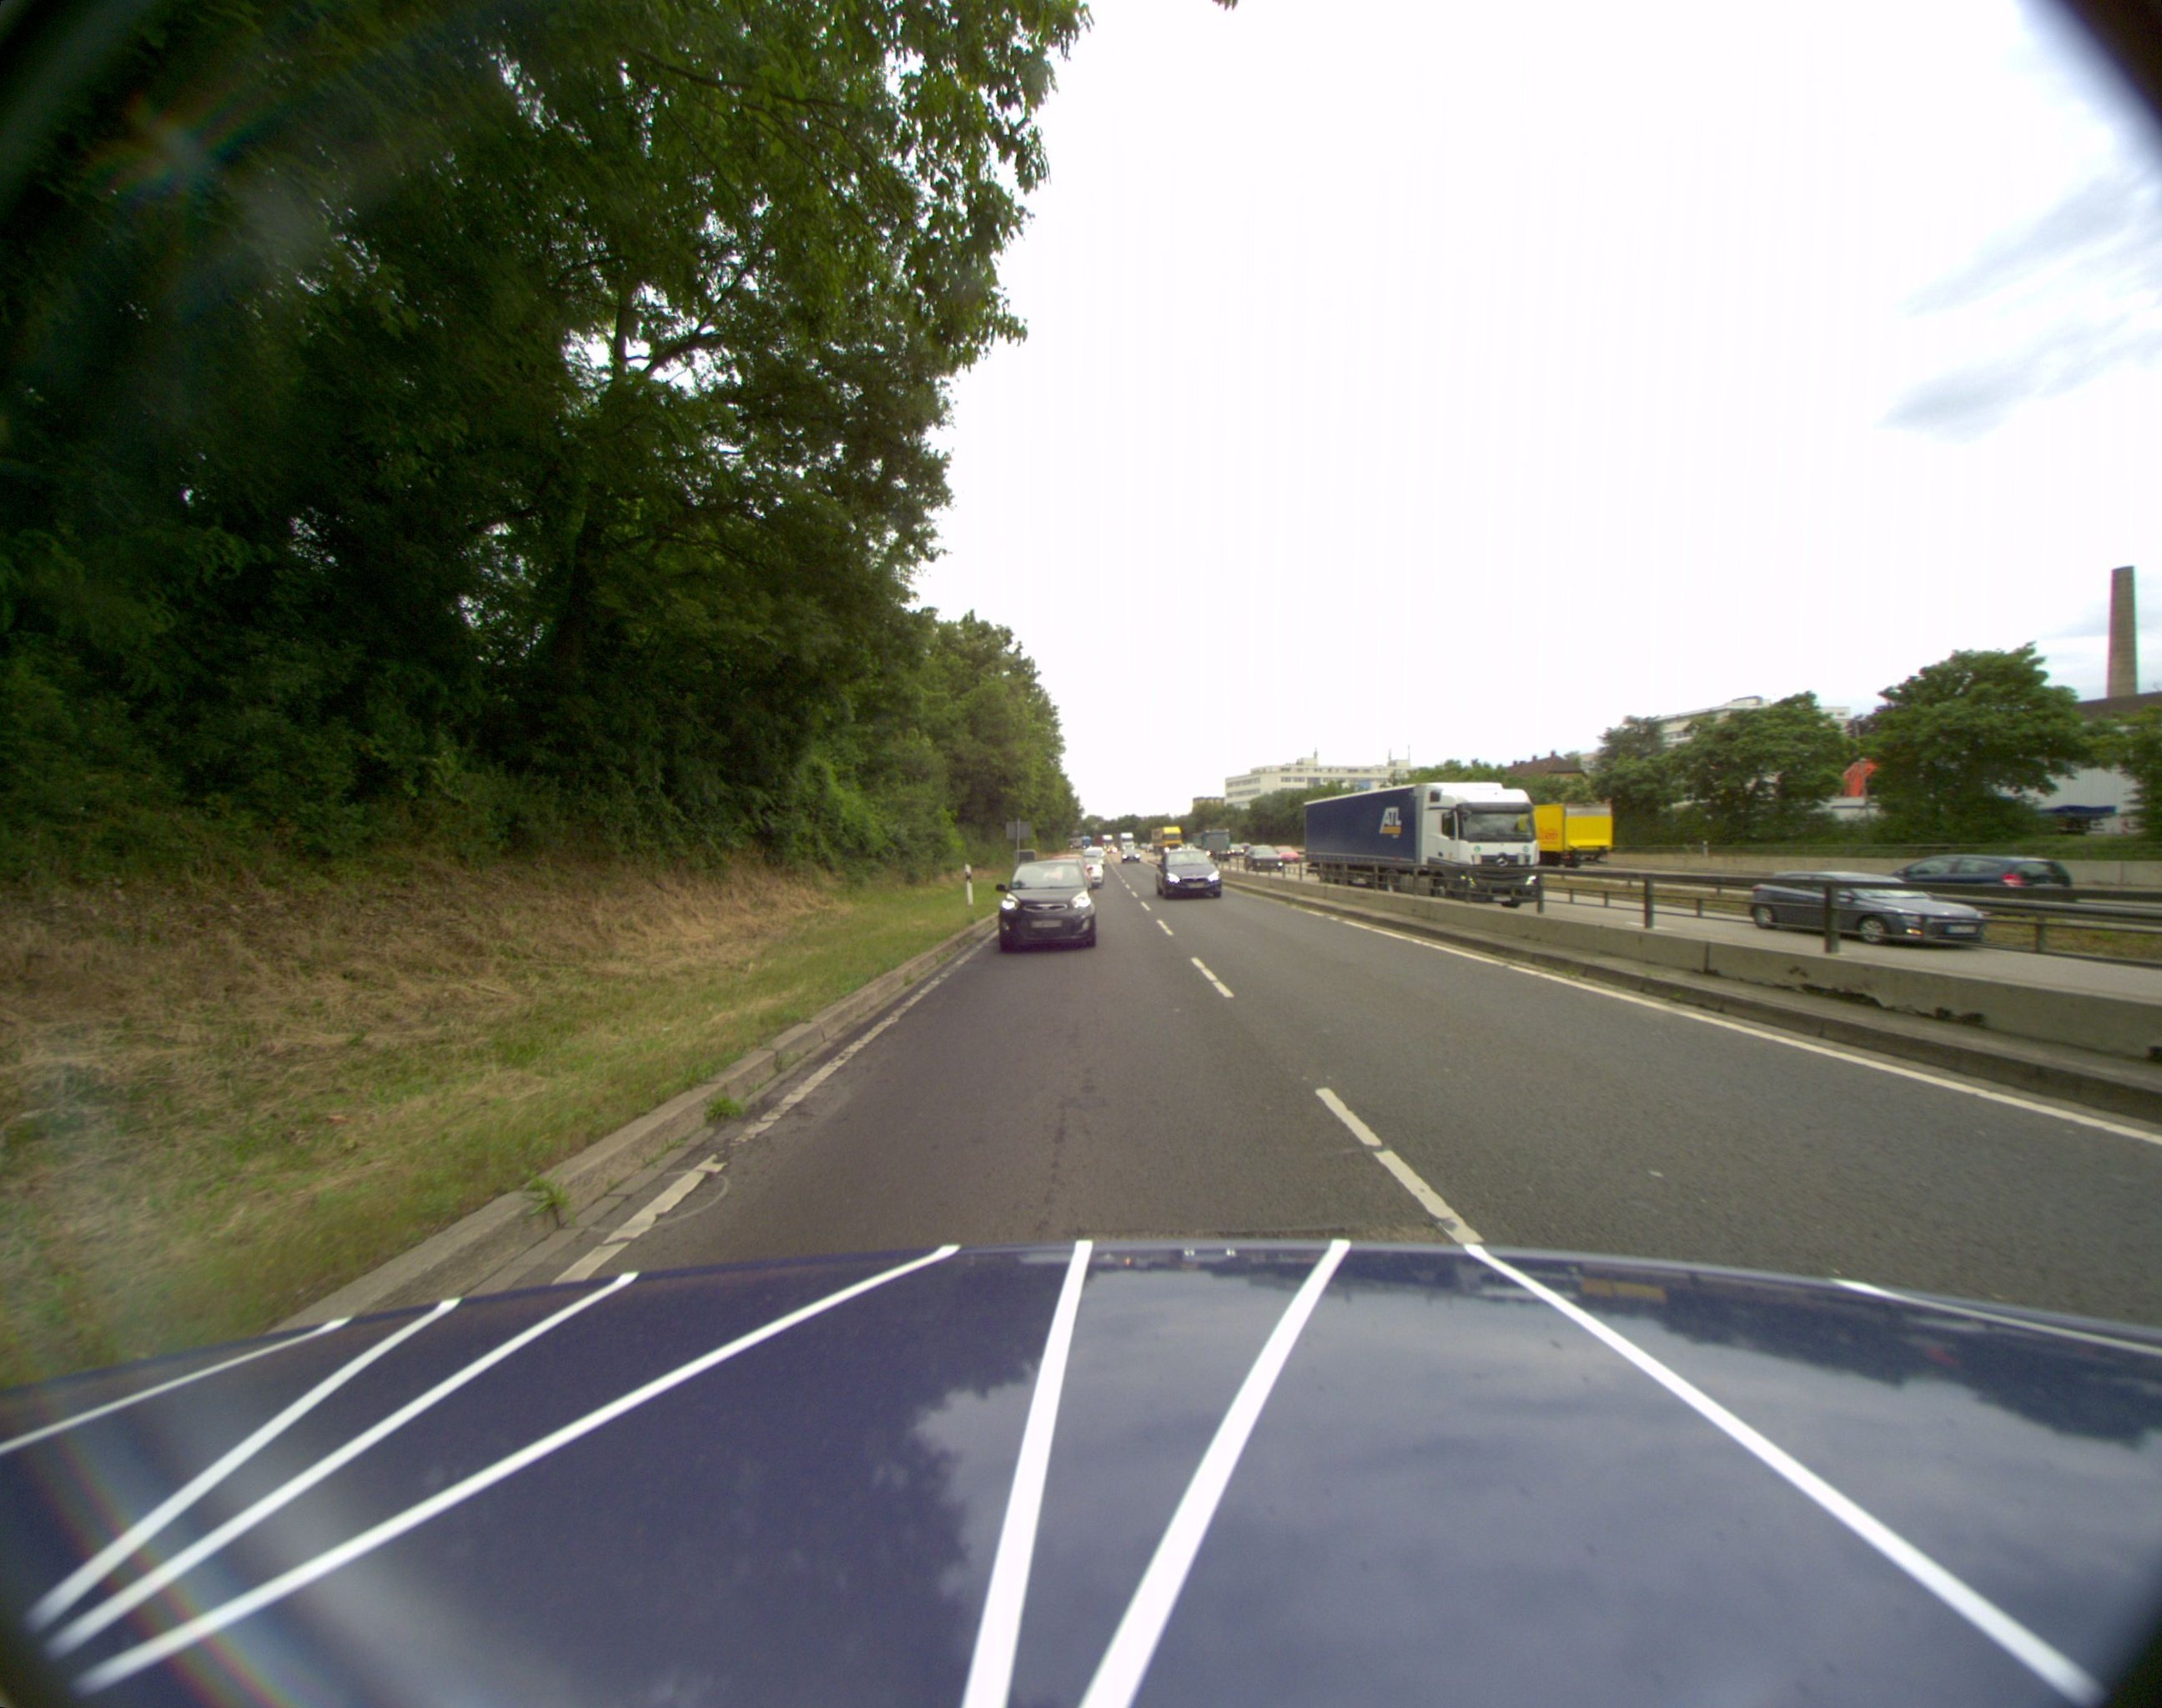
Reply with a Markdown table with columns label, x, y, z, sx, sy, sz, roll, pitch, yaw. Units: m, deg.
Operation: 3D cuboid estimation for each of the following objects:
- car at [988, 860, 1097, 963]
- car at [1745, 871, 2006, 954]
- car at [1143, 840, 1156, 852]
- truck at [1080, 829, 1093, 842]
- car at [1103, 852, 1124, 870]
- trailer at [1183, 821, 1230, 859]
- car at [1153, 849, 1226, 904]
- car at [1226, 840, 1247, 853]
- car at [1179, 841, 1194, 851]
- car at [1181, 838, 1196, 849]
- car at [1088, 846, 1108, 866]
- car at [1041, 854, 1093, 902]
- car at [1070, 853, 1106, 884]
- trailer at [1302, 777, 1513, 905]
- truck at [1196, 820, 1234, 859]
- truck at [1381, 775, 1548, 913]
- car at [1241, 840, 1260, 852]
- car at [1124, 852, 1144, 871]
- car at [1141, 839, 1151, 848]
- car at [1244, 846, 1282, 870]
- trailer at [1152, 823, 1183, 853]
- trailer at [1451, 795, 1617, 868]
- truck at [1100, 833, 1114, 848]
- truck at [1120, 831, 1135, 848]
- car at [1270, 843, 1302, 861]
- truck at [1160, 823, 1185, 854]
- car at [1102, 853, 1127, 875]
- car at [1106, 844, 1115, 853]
| label | x | y | z | sx | sy | sz | roll | pitch | yaw |
| --- | --- | --- | --- | --- | --- | --- | --- | --- | --- |
| car | -0.574 | 0.911 | 13.787 | 1.627 | 1.433 | 3.999 | -2 | 1 | 1 |
| car | 17.197 | 1.183 | 16.766 | 1.628 | 1.433 | 3.896 | 0 | 1 | 0 |
| car | 12.476 | -1.516 | 139.428 | 1.998 | 2.002 | 3.999 | -2 | 1 | 1 |
| truck | 1.695 | -6.200 | 255.060 | 2.533 | 4.013 | 13.766 | -1 | 1 | -8 |
| car | 2.685 | 0.544 | 63.572 | 1.627 | 1.337 | 3.999 | -2 | 1 | 1 |
| trailer | 13.334 | -1.501 | 82.355 | 2.613 | 3.620 | 16.747 | -1 | 1 | 1 |
| car | 3.476 | 0.659 | 25.137 | 1.784 | 1.554 | 4.421 | -2 | 1 | 1 |
| car | 18.683 | -0.886 | 91.469 | 1.627 | 1.433 | 3.999 | -2 | 1 | 1 |
| car | 17.081 | -1.280 | 123.366 | 1.784 | 1.554 | 4.421 | -2 | 1 | 1 |
| car | 19.269 | -1.893 | 136.460 | 1.998 | 2.002 | 4.000 | -2 | 1 | 1 |
| car | 1.572 | 0.146 | 72.166 | 1.769 | 1.786 | 4.577 | -2 | 1 | 1 |
| car | -0.434 | 0.780 | 26.618 | 1.627 | 1.433 | 3.999 | -2 | 1 | 1 |
| car | 0.362 | 0.695 | 37.750 | 1.627 | 1.337 | 3.999 | -2 | 1 | 1 |
| trailer | 12.490 | -0.520 | 31.437 | 2.531 | 4.013 | 14.782 | -1 | 1 | 1 |
| truck | 13.225 | -1.424 | 75.260 | 2.645 | 3.615 | 6.666 | -1 | 1 | 1 |
| truck | 12.404 | -0.346 | 25.262 | 2.531 | 4.014 | 6.096 | -1 | 1 | 1 |
| car | 22.150 | -1.033 | 99.182 | 1.627 | 1.503 | 3.896 | -2 | 1 | 1 |
| car | 5.437 | 0.742 | 78.437 | 1.769 | 1.786 | 4.577 | -2 | 1 | 1 |
| car | 15.670 | -2.558 | 184.047 | 1.998 | 2.002 | 3.999 | -1 | 1 | 0 |
| car | 12.134 | 0.250 | 50.919 | 1.627 | 1.433 | 3.999 | -2 | 1 | 1 |
| trailer | 13.464 | -2.432 | 120.058 | 2.898 | 4.329 | 19.919 | -1 | 1 | 1 |
| trailer | 28.326 | -1.327 | 48.770 | 2.531 | 4.013 | 13.774 | -1 | 1 | 0 |
| truck | 7.391 | -3.772 | 217.240 | 2.532 | 4.013 | 13.769 | -1 | 1 | -5 |
| truck | 10.983 | -3.437 | 180.588 | 2.957 | 4.013 | 13.776 | -1 | 1 | 0 |
| car | 16.969 | -0.201 | 63.089 | 1.627 | 1.433 | 3.999 | -2 | 1 | 1 |
| truck | 13.346 | -2.292 | 111.128 | 2.893 | 4.319 | 6.518 | -1 | 1 | 1 |
| car | 2.331 | 0.692 | 53.542 | 1.627 | 1.337 | 3.999 | -2 | 1 | 1 |
| car | 5.836 | -1.125 | 150.460 | 1.769 | 1.786 | 4.577 | -2 | 1 | 1 |
